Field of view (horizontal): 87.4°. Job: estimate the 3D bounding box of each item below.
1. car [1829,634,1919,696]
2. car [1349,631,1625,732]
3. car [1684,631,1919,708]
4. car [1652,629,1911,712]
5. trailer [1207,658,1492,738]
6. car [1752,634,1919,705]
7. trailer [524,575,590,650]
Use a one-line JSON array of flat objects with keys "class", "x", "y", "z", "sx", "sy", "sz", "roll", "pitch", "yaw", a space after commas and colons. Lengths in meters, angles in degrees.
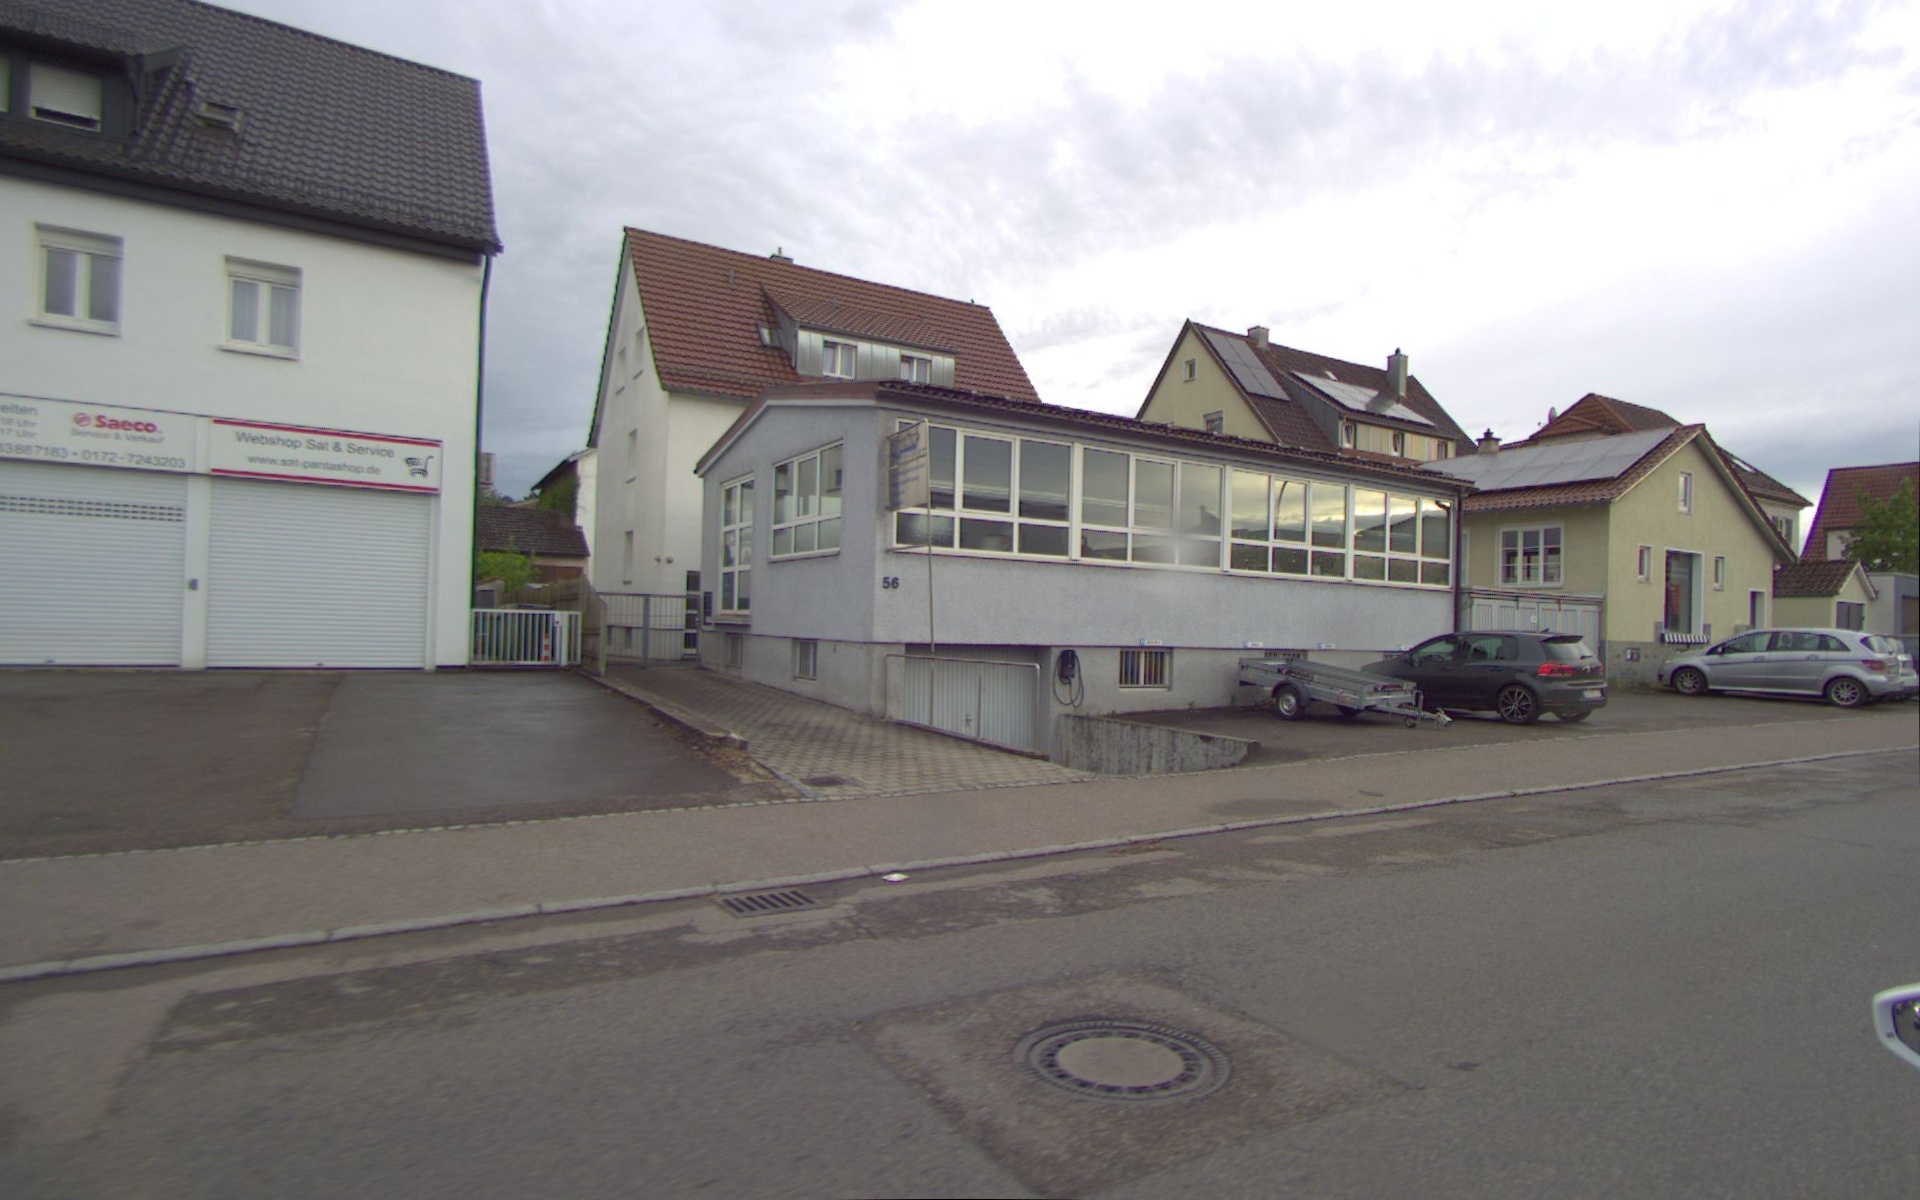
[{"class": "car", "x": 25.237, "y": 1.690, "z": 25.817, "sx": 1.864, "sy": 1.534, "sz": 4.058, "roll": 2, "pitch": -1, "yaw": -34}, {"class": "car", "x": 8.833, "y": 1.297, "z": 17.155, "sx": 1.747, "sy": 1.457, "sz": 3.855, "roll": 1, "pitch": -2, "yaw": -30}, {"class": "car", "x": 19.778, "y": 1.559, "z": 23.678, "sx": 1.794, "sy": 1.553, "sz": 4.061, "roll": 2, "pitch": -1, "yaw": -33}, {"class": "car", "x": 18.031, "y": 1.478, "z": 22.216, "sx": 1.980, "sy": 1.553, "sz": 4.058, "roll": 2, "pitch": -1, "yaw": -35}, {"class": "trailer", "x": 6.223, "y": 1.522, "z": 16.539, "sx": 1.774, "sy": 0.955, "sz": 4.175, "roll": 2, "pitch": -1, "yaw": -31}, {"class": "car", "x": 21.783, "y": 1.634, "z": 24.112, "sx": 1.739, "sy": 1.523, "sz": 4.058, "roll": 2, "pitch": -1, "yaw": -34}, {"class": "trailer", "x": -11.281, "y": 0.339, "z": 28.023, "sx": 1.329, "sy": 1.965, "sz": 3.277, "roll": 2, "pitch": -1, "yaw": -28}]
